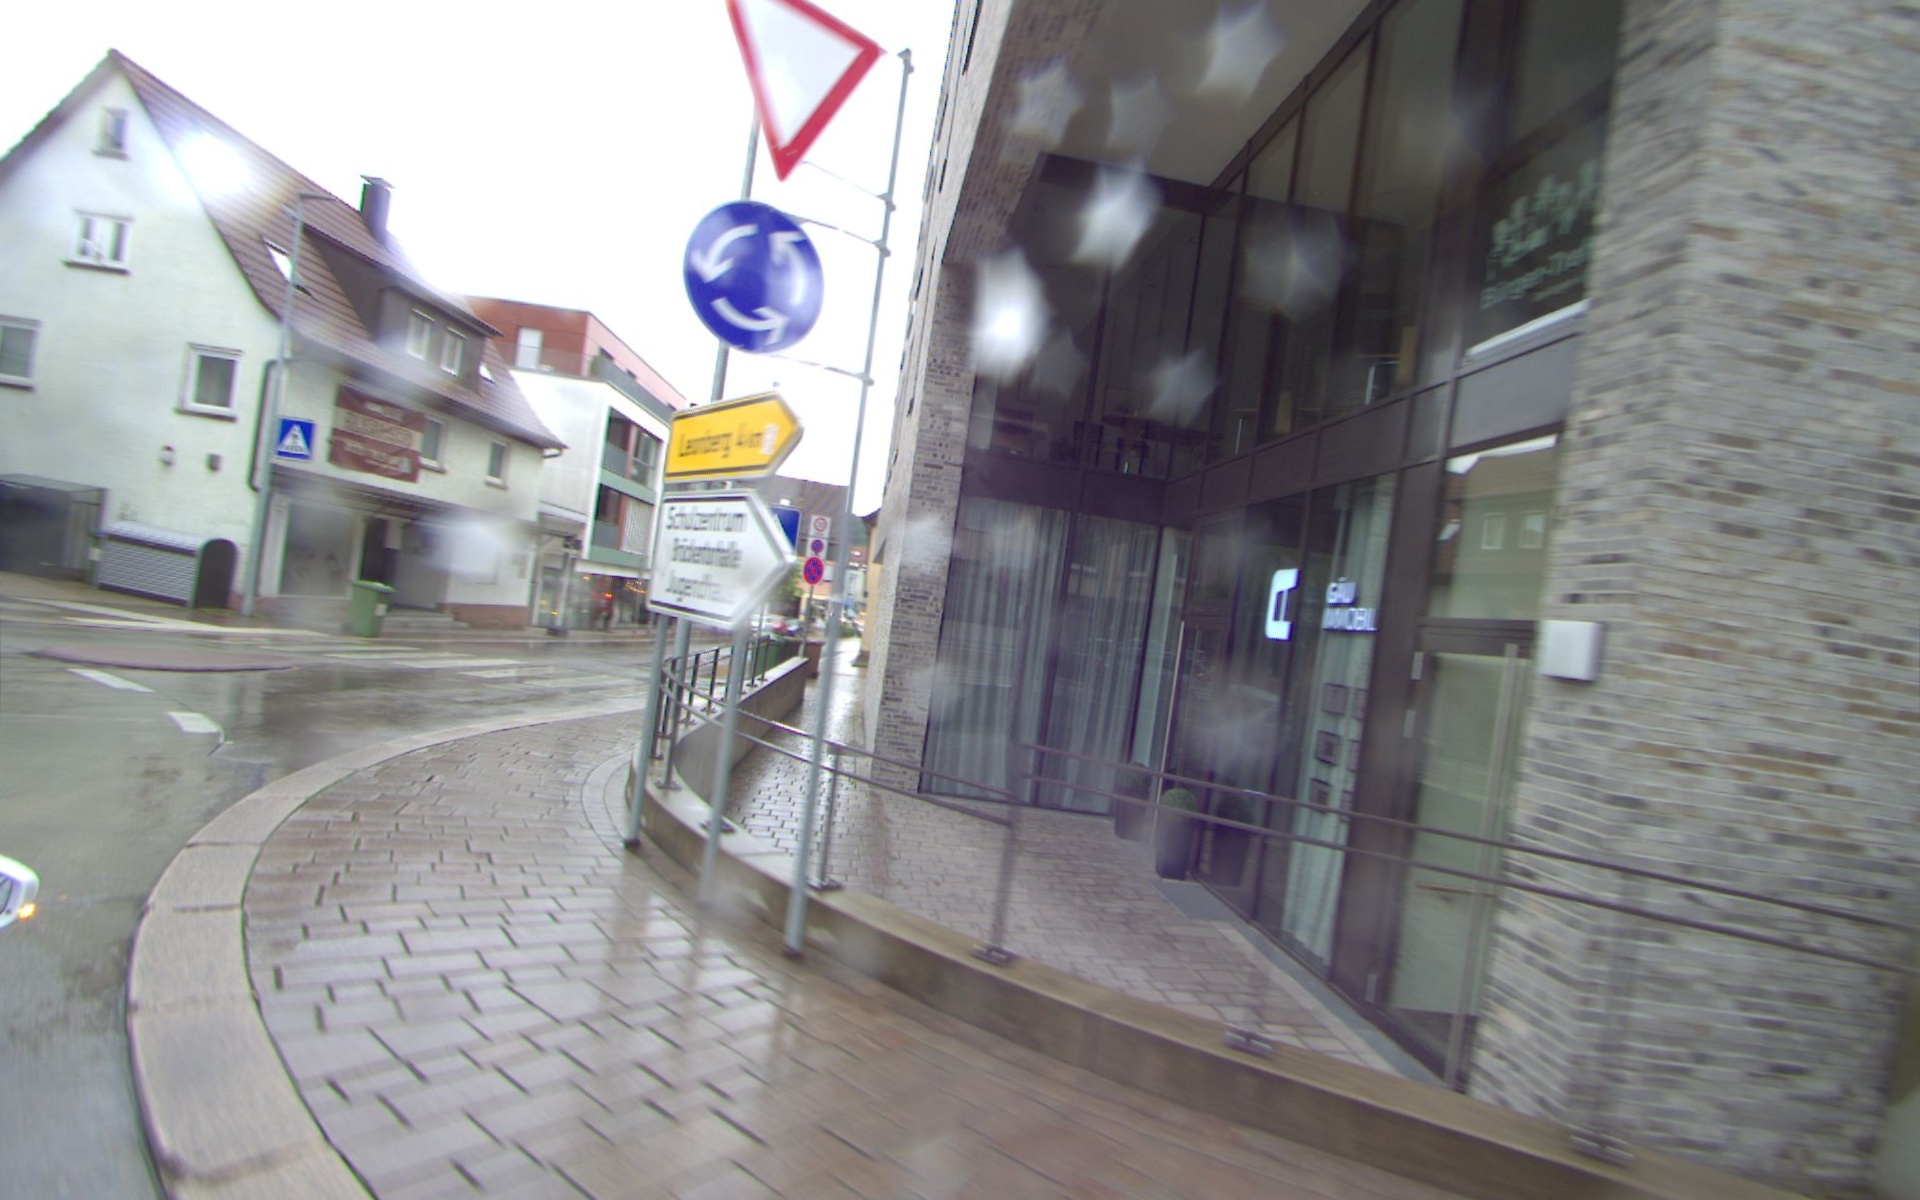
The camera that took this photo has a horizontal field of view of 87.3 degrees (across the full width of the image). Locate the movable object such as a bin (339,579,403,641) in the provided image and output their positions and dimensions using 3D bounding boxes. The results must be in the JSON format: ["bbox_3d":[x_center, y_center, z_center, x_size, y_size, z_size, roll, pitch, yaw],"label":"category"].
[{"bbox_3d":[-11.806,0.213,20.194,0.677,1.092,0.761,10,-2,-4],"label":"movable object such as a bin"}]

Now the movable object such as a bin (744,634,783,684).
[{"bbox_3d":[-4.700,1.410,24.089,0.729,1.108,0.657,7,-1,-3],"label":"movable object such as a bin"}]

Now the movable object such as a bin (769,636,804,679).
[{"bbox_3d":[-4.778,1.580,27.723,0.754,1.108,0.581,7,-1,-3],"label":"movable object such as a bin"}]

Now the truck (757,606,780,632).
[{"bbox_3d":[-18.018,1.760,94.682,1.573,2.091,3.186,6,3,-5],"label":"truck"}]

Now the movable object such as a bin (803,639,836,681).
[{"bbox_3d":[-4.032,1.733,28.955,0.754,1.108,0.627,7,-1,-3],"label":"movable object such as a bin"}]

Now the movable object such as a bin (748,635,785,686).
[{"bbox_3d":[-4.490,1.398,23.404,0.653,1.108,0.551,7,-1,-4],"label":"movable object such as a bin"}]

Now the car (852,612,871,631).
[{"bbox_3d":[-12.594,2.715,128.422,2.074,2.171,4.863,6,-2,-8],"label":"car"}]

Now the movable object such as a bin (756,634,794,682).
[{"bbox_3d":[-4.645,1.463,25.337,0.754,1.108,0.581,7,-1,-3],"label":"movable object such as a bin"}]

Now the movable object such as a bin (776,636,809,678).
[{"bbox_3d":[-4.812,1.646,28.935,0.754,1.108,0.581,7,-1,-3],"label":"movable object such as a bin"}]
